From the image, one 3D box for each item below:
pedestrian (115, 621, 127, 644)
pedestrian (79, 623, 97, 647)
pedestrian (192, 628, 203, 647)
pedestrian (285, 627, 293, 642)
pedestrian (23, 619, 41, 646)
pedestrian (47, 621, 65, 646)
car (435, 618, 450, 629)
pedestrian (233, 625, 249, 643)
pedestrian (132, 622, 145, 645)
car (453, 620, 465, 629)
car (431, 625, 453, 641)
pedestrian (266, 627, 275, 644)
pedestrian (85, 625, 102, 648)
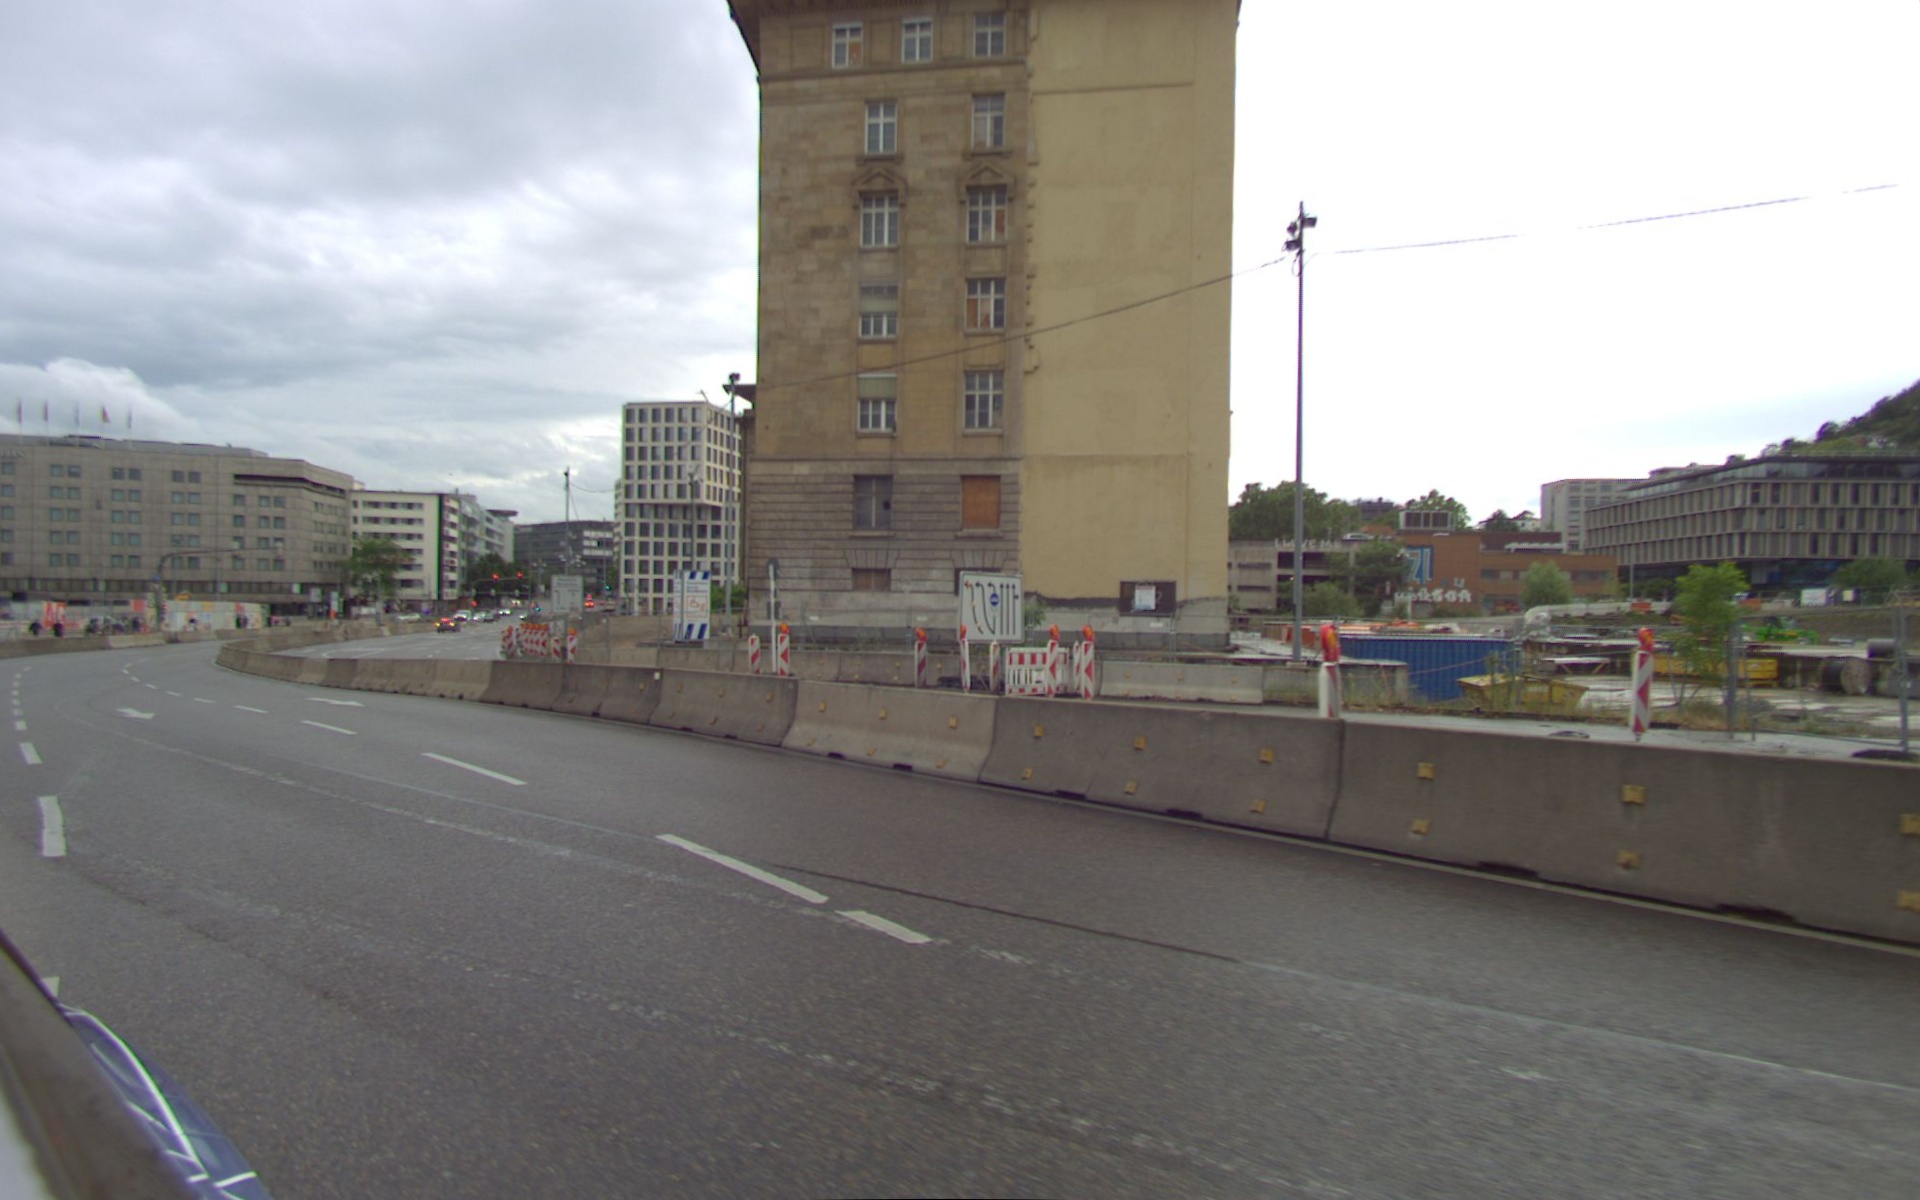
[{"bbox_3d":[-65.279,2.518,78.739,0.576,1.721,0.679,3,-2,-32],"label":"pedestrian"},{"bbox_3d":[-62.063,2.489,72.061,0.644,1.703,0.778,2,-2,-19],"label":"pedestrian"},{"bbox_3d":[-69.785,3.400,92.596,0.638,1.682,0.768,3,-2,-32],"label":"pedestrian"},{"bbox_3d":[-77.322,3.978,116.582,0.643,1.774,0.550,3,-2,-32],"label":"pedestrian"},{"bbox_3d":[-61.942,2.164,67.563,0.638,1.756,0.768,3,-2,-30],"label":"pedestrian"},{"bbox_3d":[-60.953,2.244,68.227,0.638,1.659,0.950,3,-2,-30],"label":"pedestrian"},{"bbox_3d":[-91.964,4.204,179.995,1.965,1.838,4.013,1,-1,-22],"label":"car"},{"bbox_3d":[-75.333,3.546,105.987,1.081,1.774,0.909,2,-2,-16],"label":"pedestrian"},{"bbox_3d":[-66.154,2.706,81.506,0.638,1.774,0.585,3,-2,-32],"label":"pedestrian"},{"bbox_3d":[-89.201,4.347,180.147,1.680,1.464,3.808,1,-1,-22],"label":"car"},{"bbox_3d":[-54.381,3.467,106.332,1.741,1.533,4.401,1,-1,-24],"label":"car"},{"bbox_3d":[-74.801,3.831,109.823,0.744,1.774,0.768,3,-2,-32],"label":"pedestrian"},{"bbox_3d":[-63.700,2.675,74.378,0.644,1.703,0.778,2,-2,-19],"label":"pedestrian"}]
